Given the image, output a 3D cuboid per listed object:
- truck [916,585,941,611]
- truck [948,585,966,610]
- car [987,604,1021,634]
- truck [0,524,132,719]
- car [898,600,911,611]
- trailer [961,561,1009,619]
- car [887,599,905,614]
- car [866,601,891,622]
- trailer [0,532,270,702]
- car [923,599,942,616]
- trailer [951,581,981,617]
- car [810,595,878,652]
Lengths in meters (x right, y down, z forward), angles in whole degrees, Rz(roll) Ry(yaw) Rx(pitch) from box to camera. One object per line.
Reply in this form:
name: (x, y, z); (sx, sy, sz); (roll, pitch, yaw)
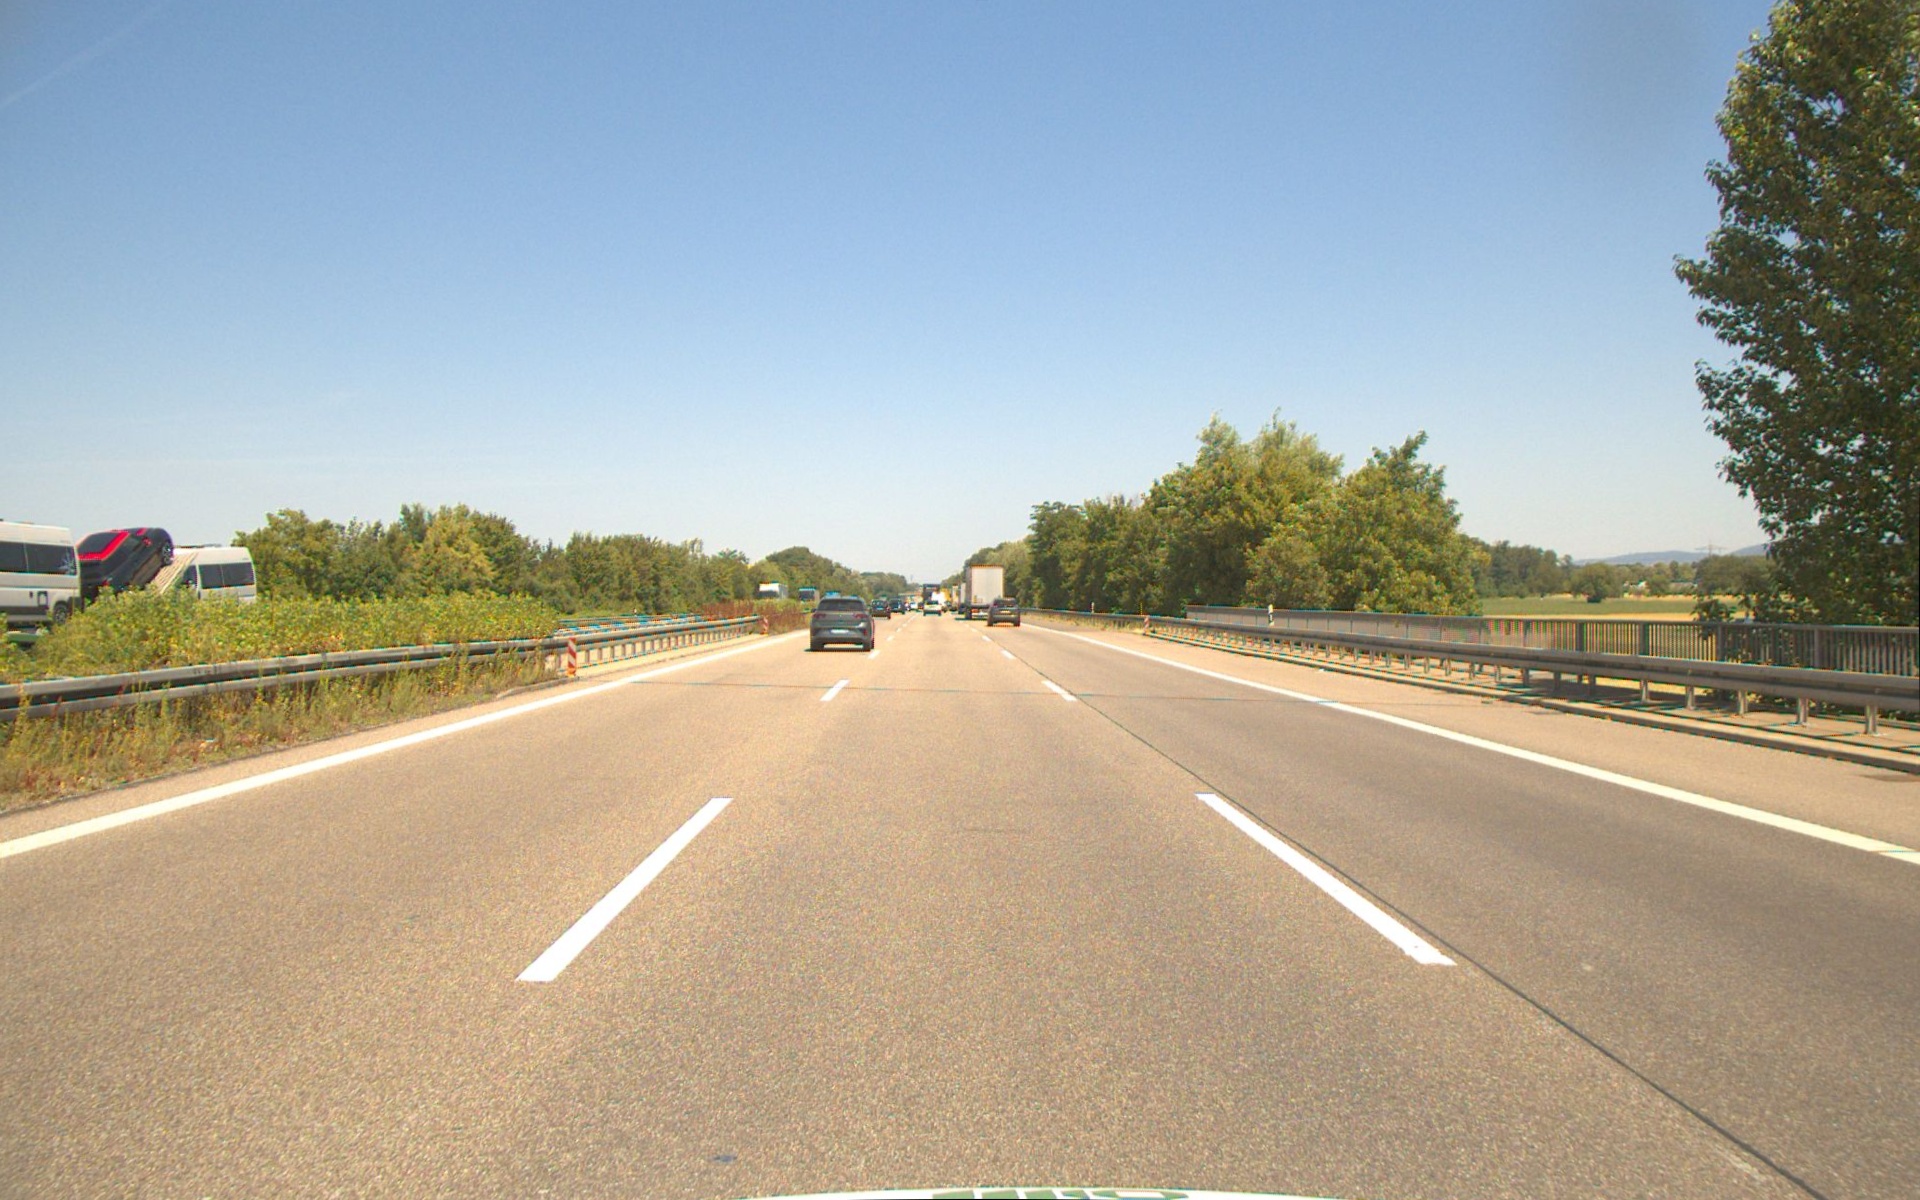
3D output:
truck: (-4.594, -0.371, 243.847); (3.592, 3.791, 7.108); (0, 0, 0)
truck: (-0.442, -0.407, 256.300); (2.735, 3.791, 7.108); (0, 0, 0)
car: (2.548, 1.092, 95.801); (1.808, 1.657, 4.134); (-1, 0, -1)
truck: (-21.407, 0.430, 35.485); (2.859, 4.060, 9.618); (0, 0, -3)
car: (-8.393, 0.774, 249.729); (1.869, 1.557, 4.284); (0, 1, -1)
trailer: (1.873, -0.703, 130.086); (3.365, 4.254, 13.629); (0, 0, -1)
car: (-7.013, 0.720, 180.833); (1.869, 1.557, 4.284); (0, 1, -1)
car: (-6.323, 0.870, 128.744); (1.862, 1.557, 4.083); (0, 1, -1)
trailer: (-21.747, 0.371, 44.207); (2.867, 4.060, 9.655); (0, 0, -2)
car: (-2.692, 0.753, 163.048); (1.862, 1.557, 4.083); (0, 1, -1)
trailer: (0.654, -0.125, 191.316); (3.059, 3.995, 9.933); (0, 0, -2)
car: (-3.349, 0.648, 48.352); (1.723, 1.557, 4.284); (0, 1, -1)
